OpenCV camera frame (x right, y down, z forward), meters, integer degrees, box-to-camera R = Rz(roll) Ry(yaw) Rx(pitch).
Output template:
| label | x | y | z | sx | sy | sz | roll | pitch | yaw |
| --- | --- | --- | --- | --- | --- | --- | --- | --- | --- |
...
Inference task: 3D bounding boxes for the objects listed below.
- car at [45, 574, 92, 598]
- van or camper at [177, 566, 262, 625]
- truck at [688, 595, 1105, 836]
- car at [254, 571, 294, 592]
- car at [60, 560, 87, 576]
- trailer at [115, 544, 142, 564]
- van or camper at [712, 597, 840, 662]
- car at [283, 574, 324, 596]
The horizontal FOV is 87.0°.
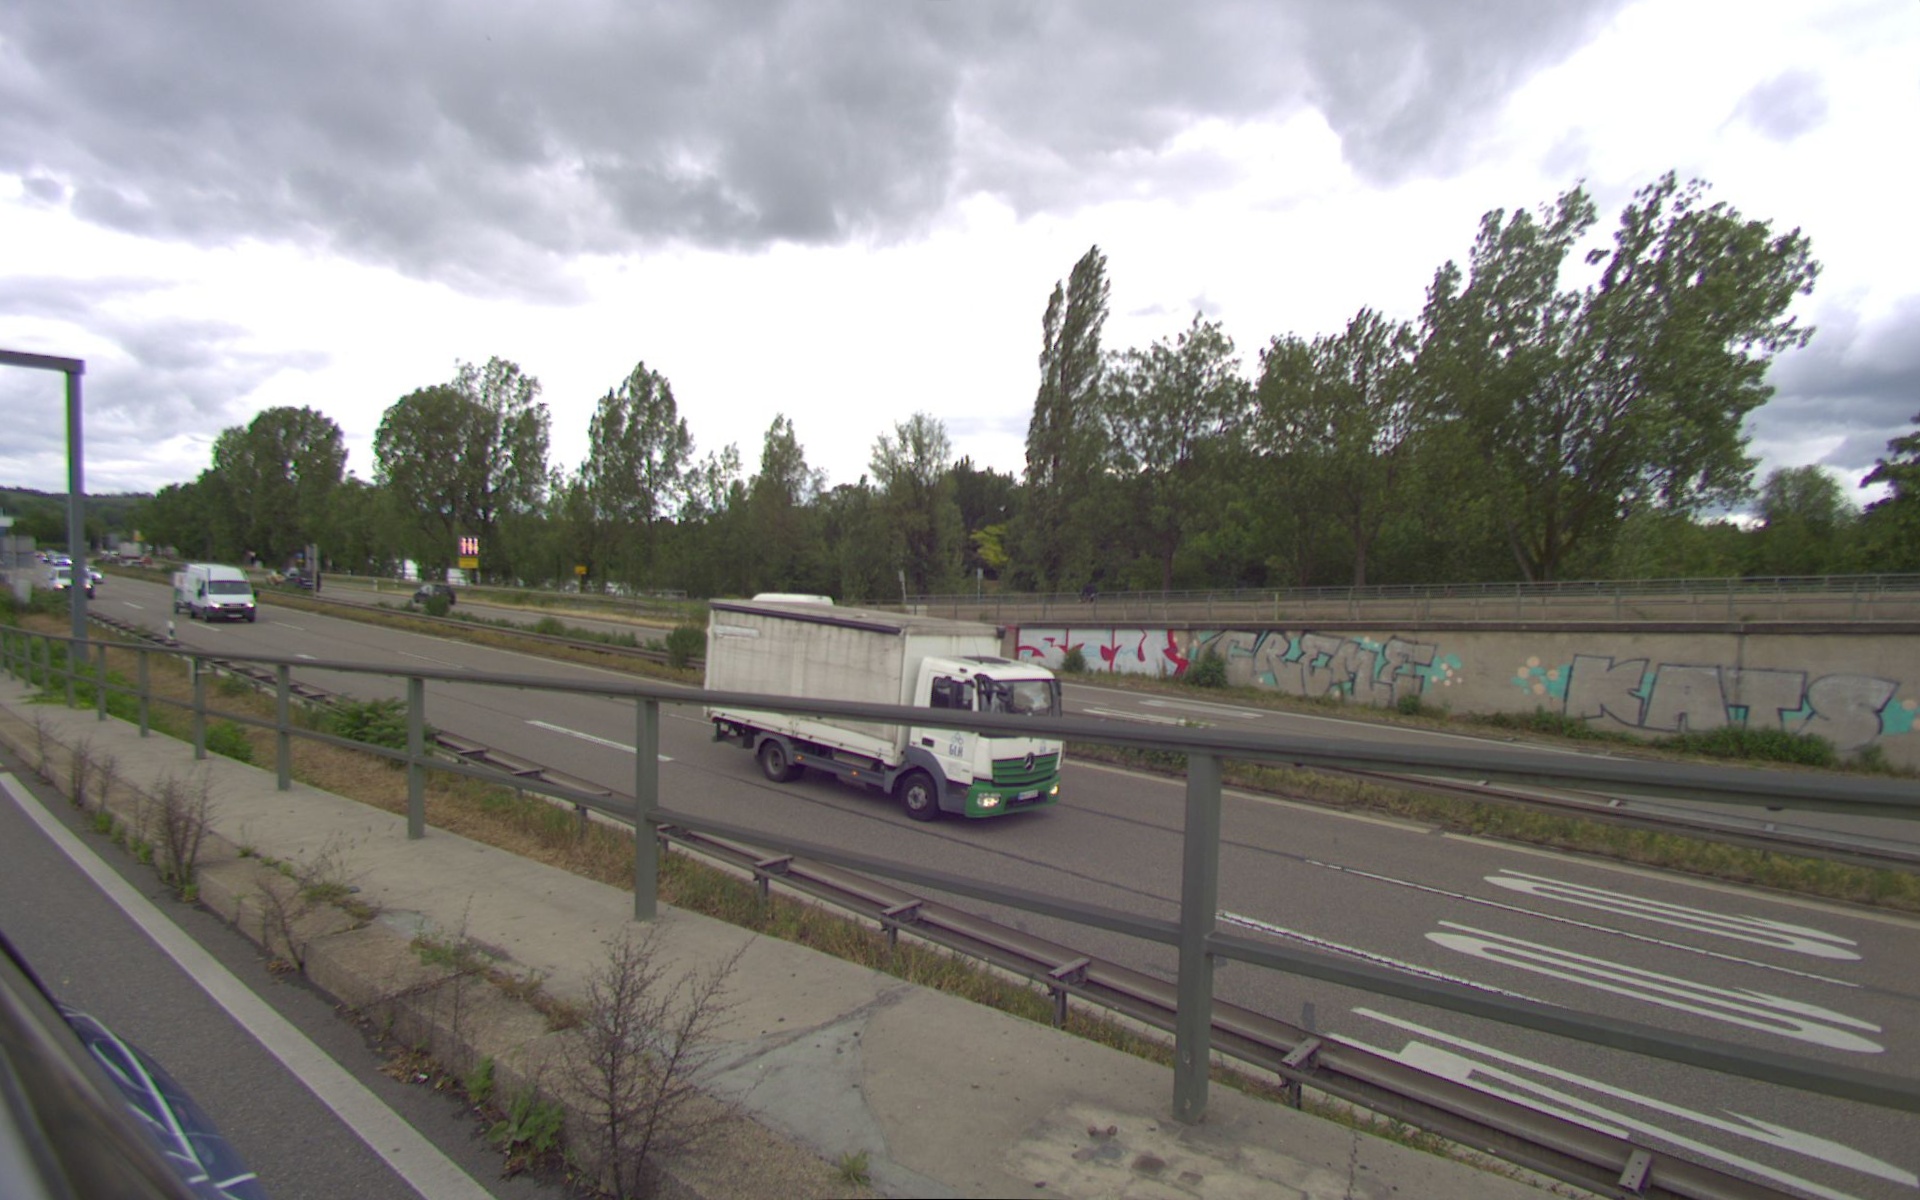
| label | x | y | z | sx | sy | sz | roll | pitch | yaw |
| --- | --- | --- | --- | --- | --- | --- | --- | --- | --- |
| car | -54.712 | -0.869 | 62.097 | 1.970 | 1.410 | 4.004 | 1 | 1 | -44 |
| van or camper | -36.611 | -0.299 | 49.966 | 6.328 | 2.623 | 2.181 | 4 | 3 | 42 |
| truck | -1.442 | 1.686 | 18.355 | 7.567 | 3.182 | 3.000 | 4 | 2 | 41 |
| car | -65.665 | -1.767 | 96.855 | 4.702 | 1.732 | 1.973 | 5 | 2 | 41 |
| car | -107.128 | -3.845 | 122.275 | 3.998 | 1.831 | 1.973 | 2 | 1 | 41 |
| trailer | -170.316 | -9.405 | 207.184 | 13.520 | 3.978 | 2.759 | 3 | 3 | 44 |
| van or camper | -8.435 | 1.263 | 46.044 | 6.343 | 2.475 | 2.160 | 4 | 3 | 40 |
| car | -55.395 | -1.279 | 85.417 | 4.001 | 1.763 | 1.972 | 2 | 1 | 43 |
